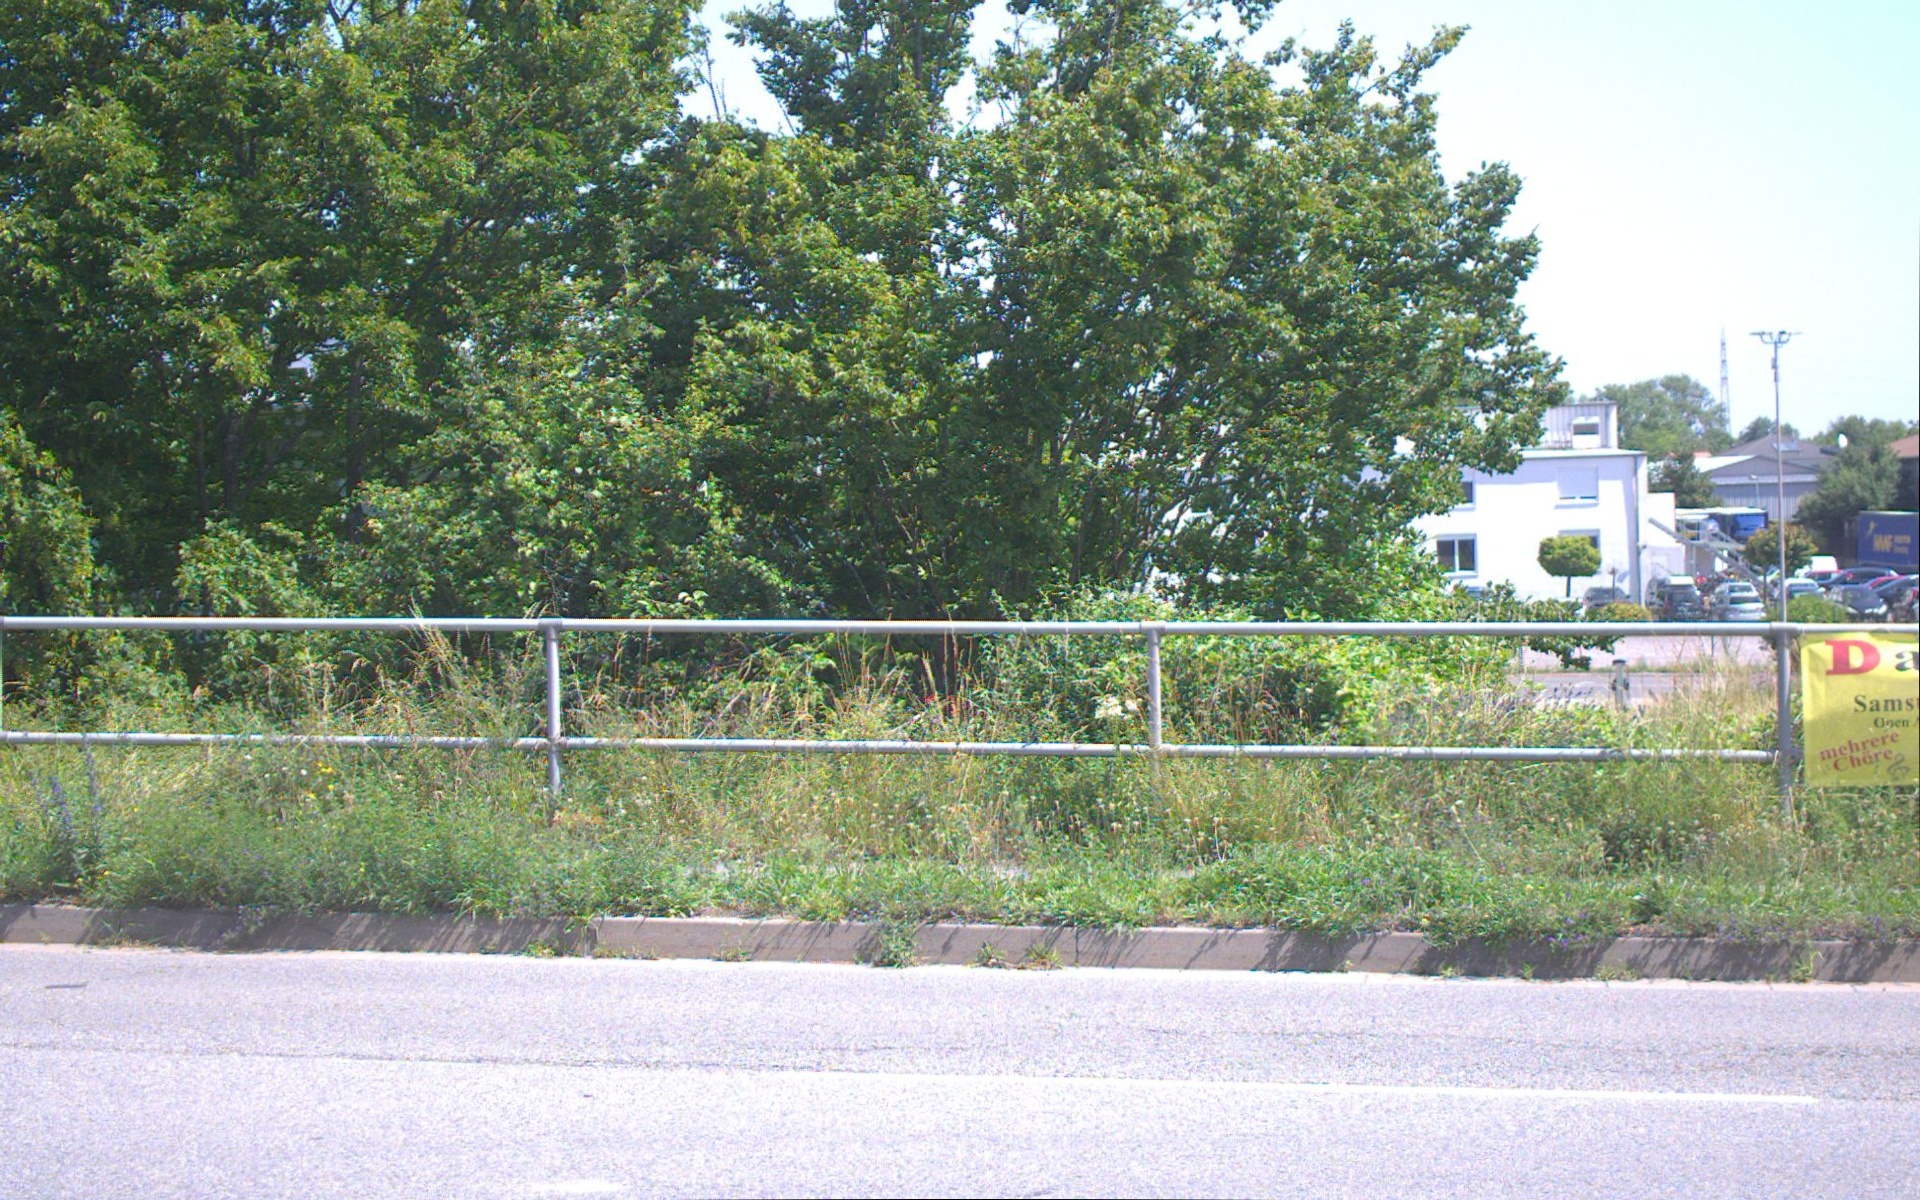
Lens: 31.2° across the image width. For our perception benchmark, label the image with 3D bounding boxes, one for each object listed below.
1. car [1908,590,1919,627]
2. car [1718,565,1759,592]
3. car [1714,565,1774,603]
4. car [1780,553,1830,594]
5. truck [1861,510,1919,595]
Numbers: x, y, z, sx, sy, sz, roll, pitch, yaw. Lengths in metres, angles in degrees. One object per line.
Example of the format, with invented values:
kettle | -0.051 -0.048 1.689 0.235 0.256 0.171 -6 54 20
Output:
car | 37.438 0.325 131.092 1.683 1.358 3.836 -3 1 4
car | 39.493 -1.114 174.377 1.451 1.346 3.316 0 1 3
car | 37.766 -0.776 165.614 1.994 1.725 4.863 0 1 3
car | 42.002 -1.326 170.989 1.717 2.007 4.000 0 1 3
truck | 50.444 -2.554 180.508 3.412 4.296 14.592 0 1 4
